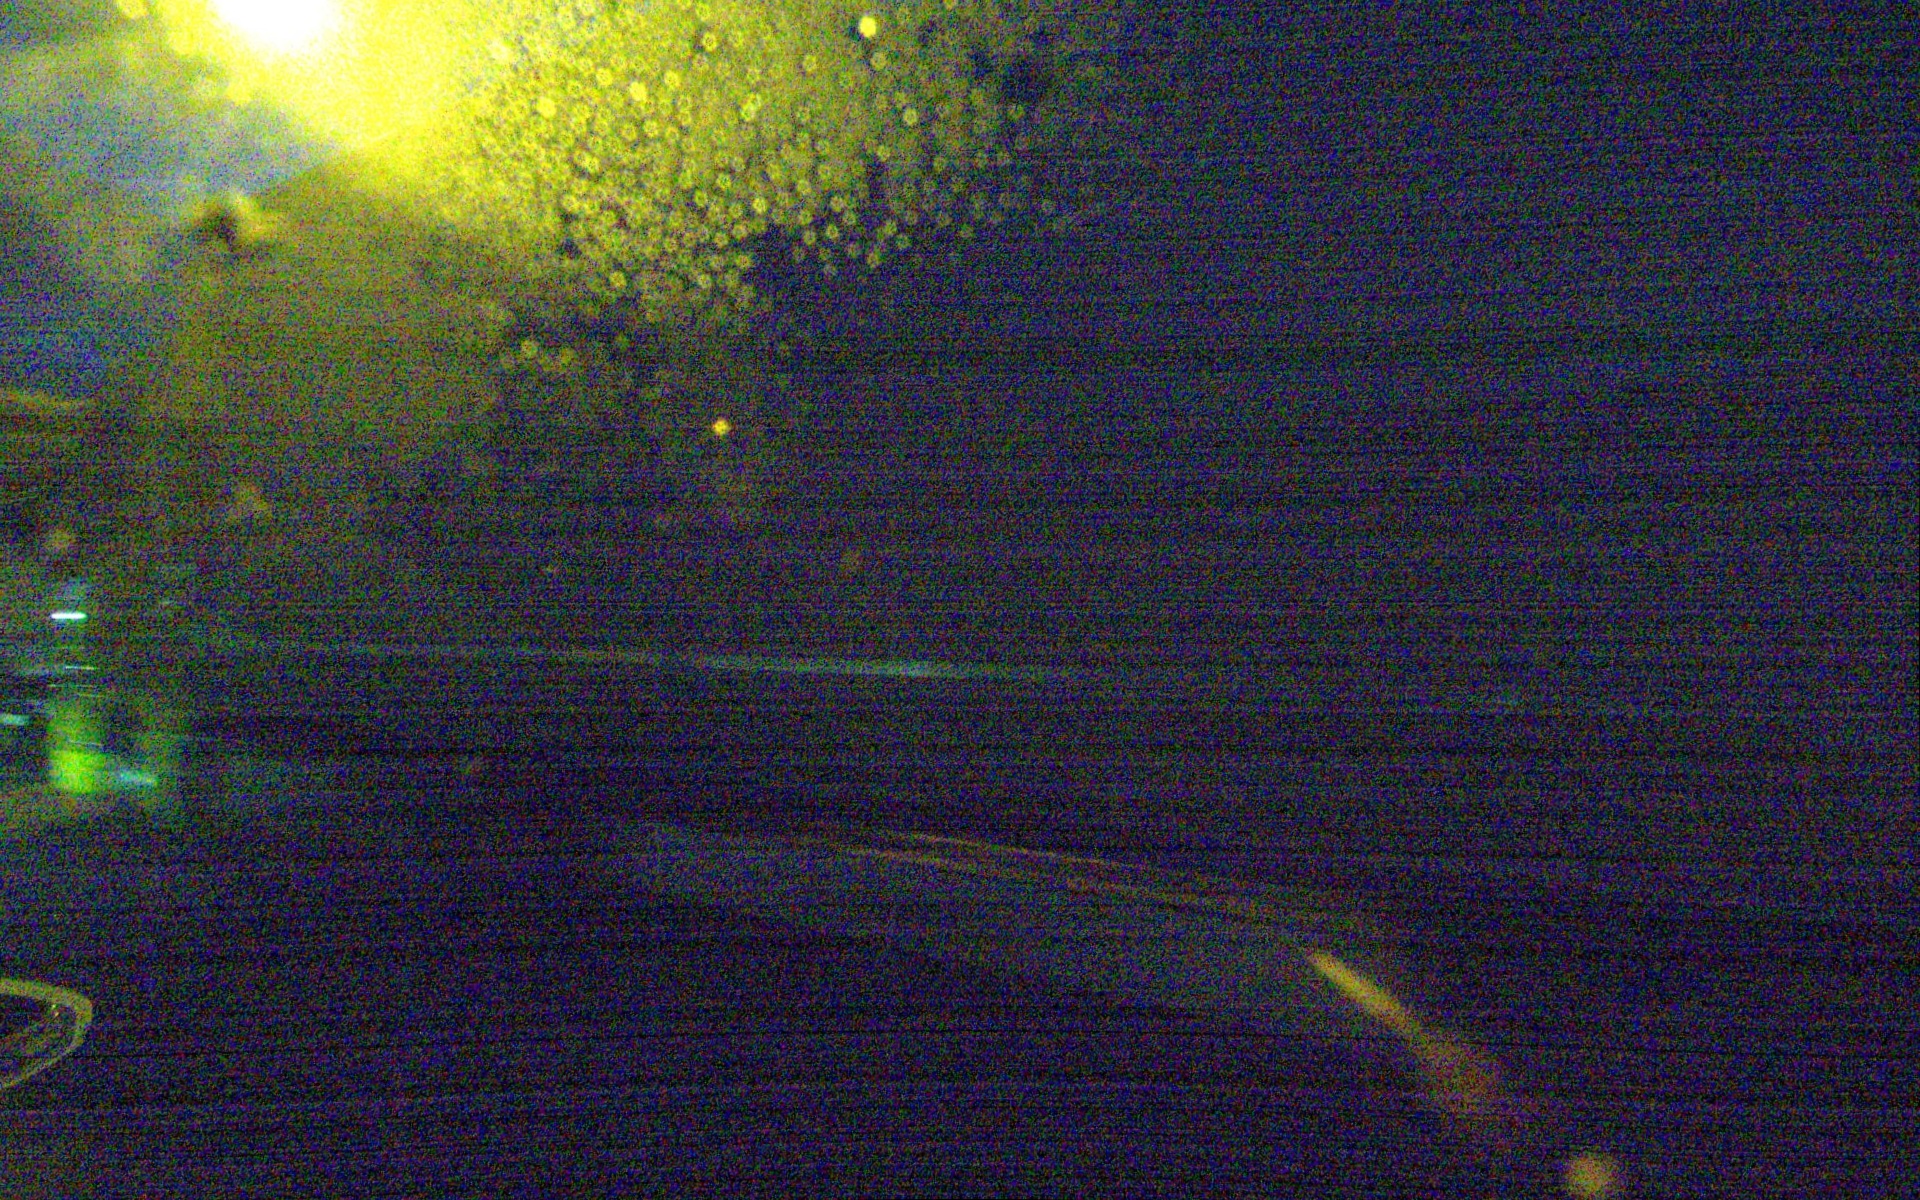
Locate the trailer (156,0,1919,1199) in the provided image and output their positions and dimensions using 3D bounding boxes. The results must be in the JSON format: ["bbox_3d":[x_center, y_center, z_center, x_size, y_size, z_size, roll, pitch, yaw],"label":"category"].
[{"bbox_3d":[1.336,-0.499,3.893,13.777,4.035,2.803,-1,-1,33],"label":"trailer"}]

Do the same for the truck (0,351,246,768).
[{"bbox_3d":[-13.314,-0.317,12.949,10.190,4.035,2.826,-1,-1,31],"label":"truck"}]

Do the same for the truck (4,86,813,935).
[{"bbox_3d":[-4.314,-0.364,7.557,5.963,4.035,2.825,-1,-1,32],"label":"truck"}]
